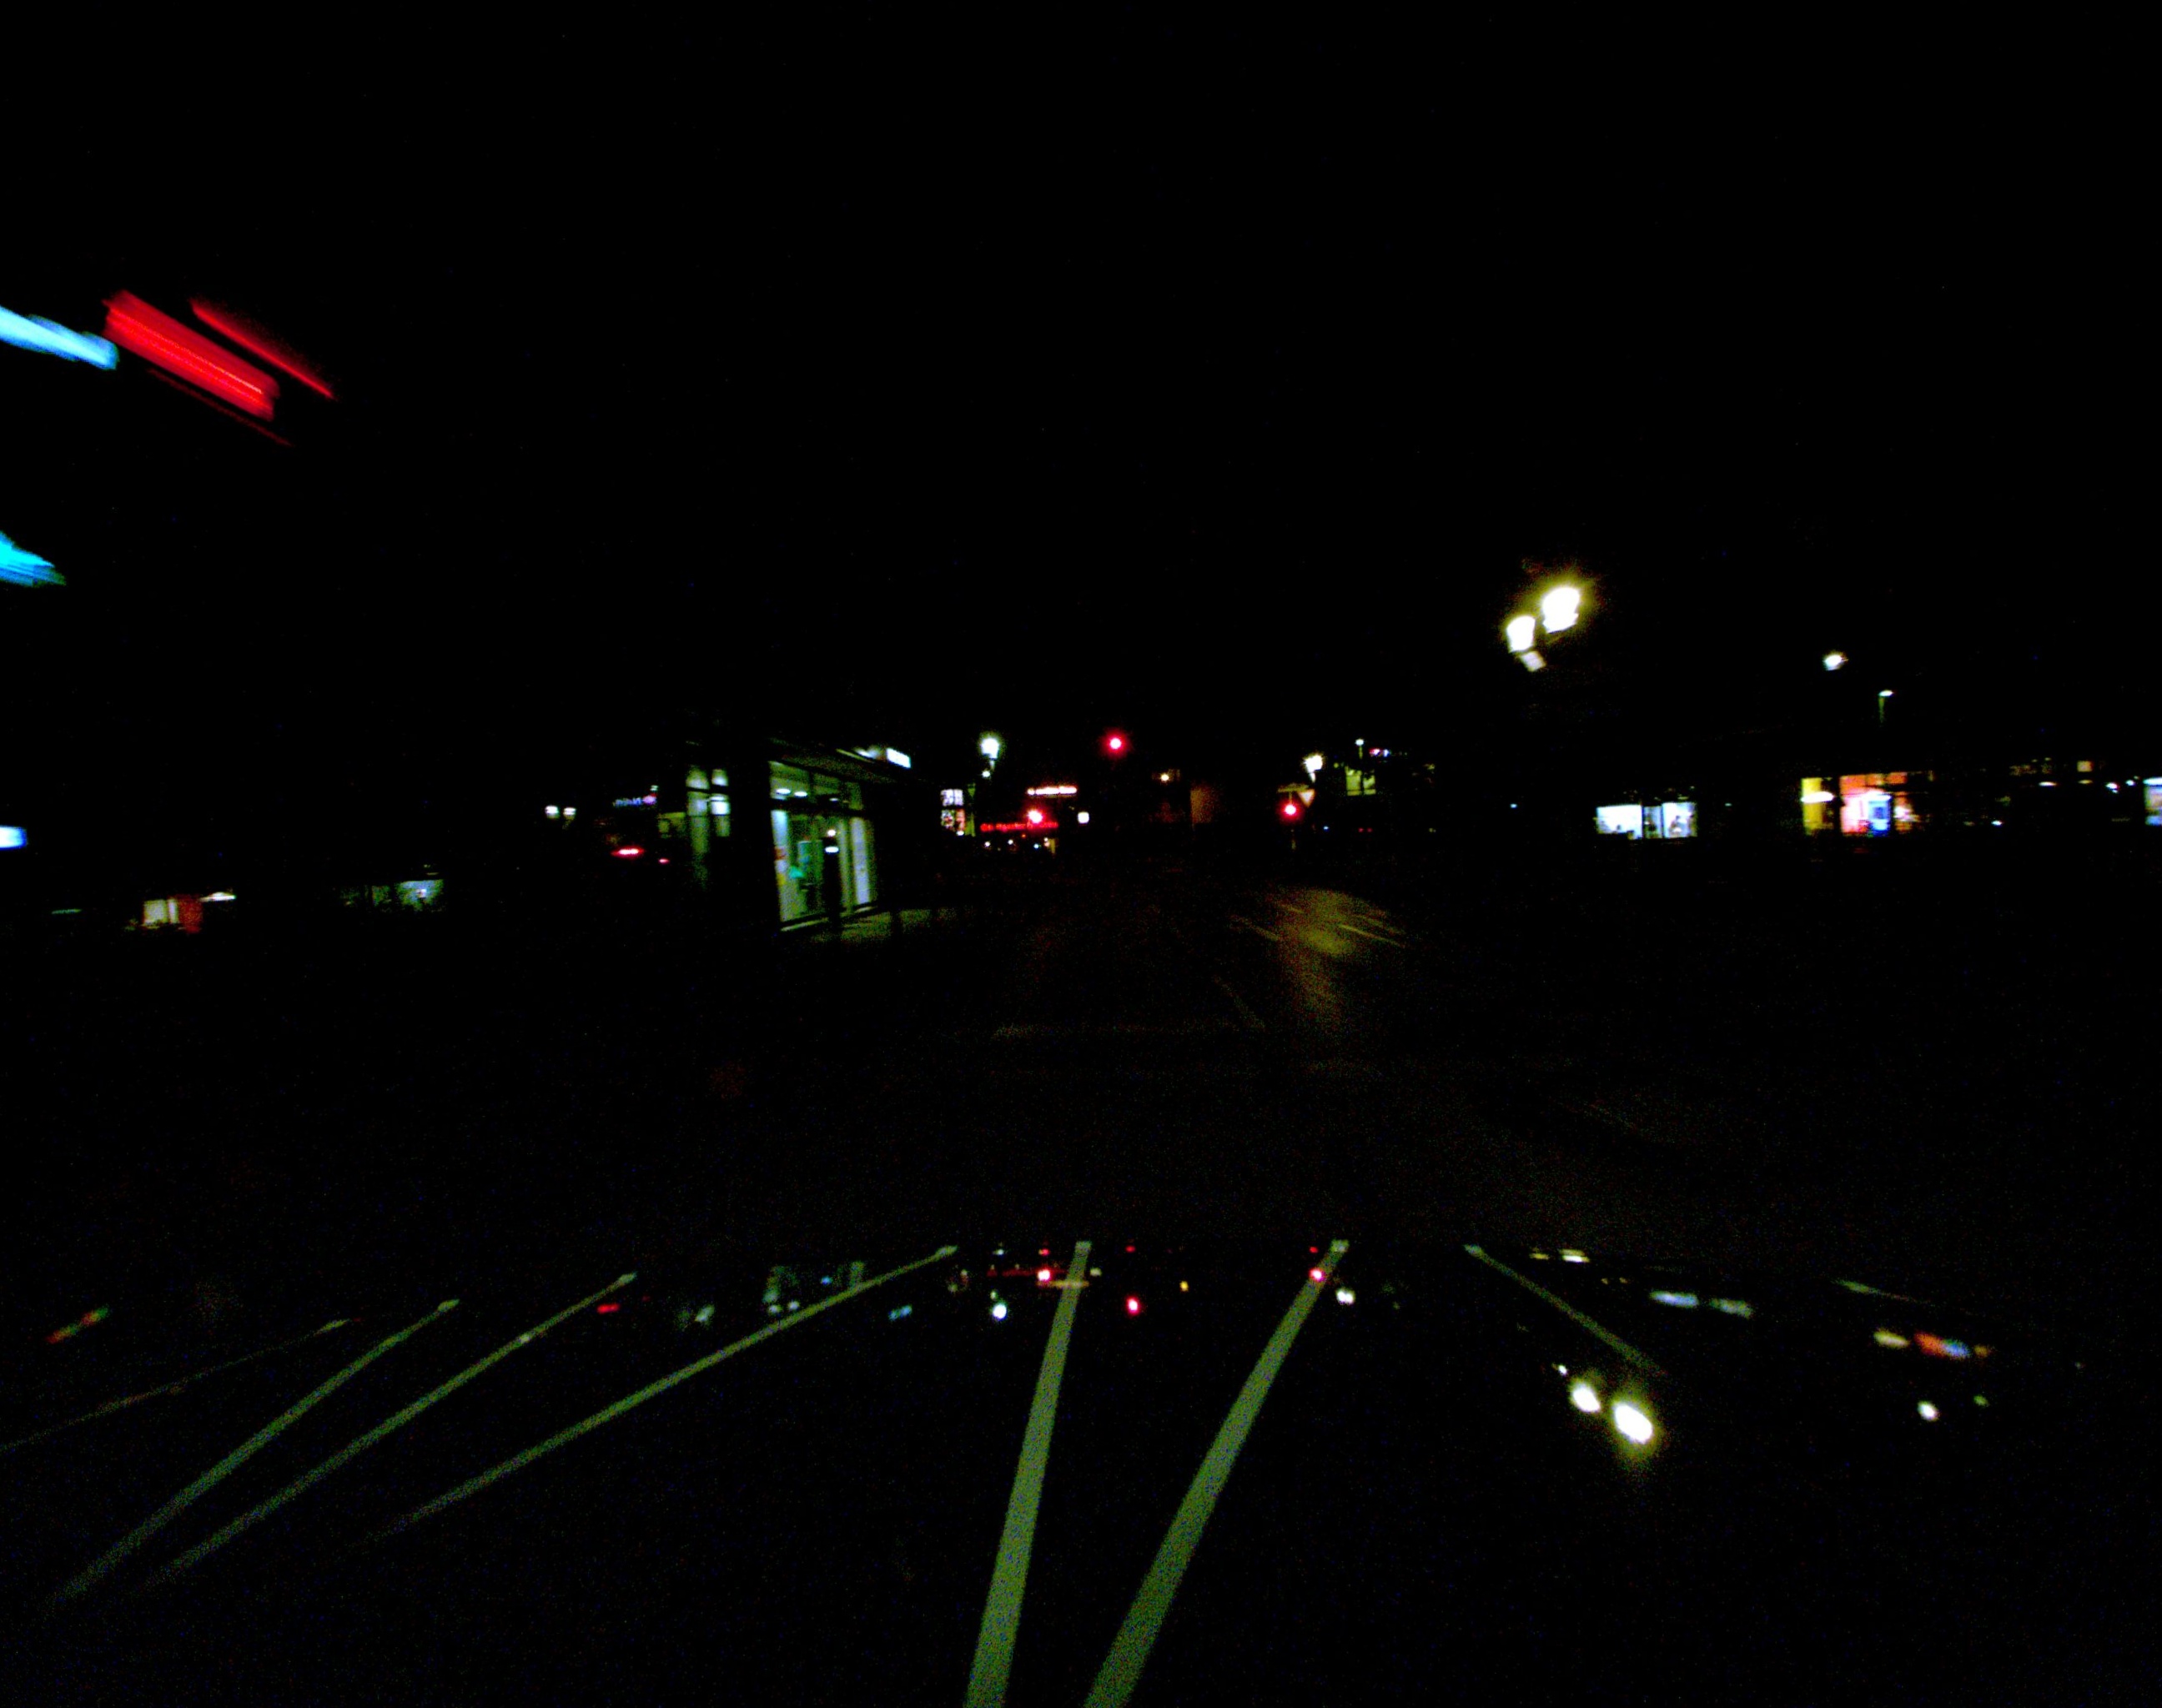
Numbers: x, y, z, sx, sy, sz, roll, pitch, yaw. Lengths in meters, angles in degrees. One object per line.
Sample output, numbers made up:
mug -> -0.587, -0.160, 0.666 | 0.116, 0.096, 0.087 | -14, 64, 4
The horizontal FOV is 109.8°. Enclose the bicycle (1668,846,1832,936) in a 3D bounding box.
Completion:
bicycle -> 9.190, 0.491, 10.480 | 1.620, 1.099, 0.670 | -3, 2, 2

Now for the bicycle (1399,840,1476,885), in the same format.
bicycle -> 10.453, 0.243, 22.343 | 1.837, 1.151, 0.787 | -5, 2, 8

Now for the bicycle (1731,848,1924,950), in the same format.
bicycle -> 8.978, 0.526, 9.182 | 1.620, 1.099, 0.670 | -3, 2, 2

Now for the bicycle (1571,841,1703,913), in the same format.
bicycle -> 9.689, 0.388, 13.279 | 1.773, 1.157, 0.670 | -3, 1, 2

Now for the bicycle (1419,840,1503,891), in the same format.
bicycle -> 9.985, 0.294, 20.012 | 1.738, 1.160, 0.787 | -5, 1, 8

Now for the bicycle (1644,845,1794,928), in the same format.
bicycle -> 9.393, 0.467, 11.224 | 1.620, 1.099, 0.670 | -3, 2, 2

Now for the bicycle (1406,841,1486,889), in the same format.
bicycle -> 10.002, 0.290, 20.867 | 1.738, 1.151, 0.787 | -5, 2, 8

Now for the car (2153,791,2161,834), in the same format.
car -> 51.049, -1.960, 33.291 | 4.409, 1.925, 1.963 | -2, 0, 17
